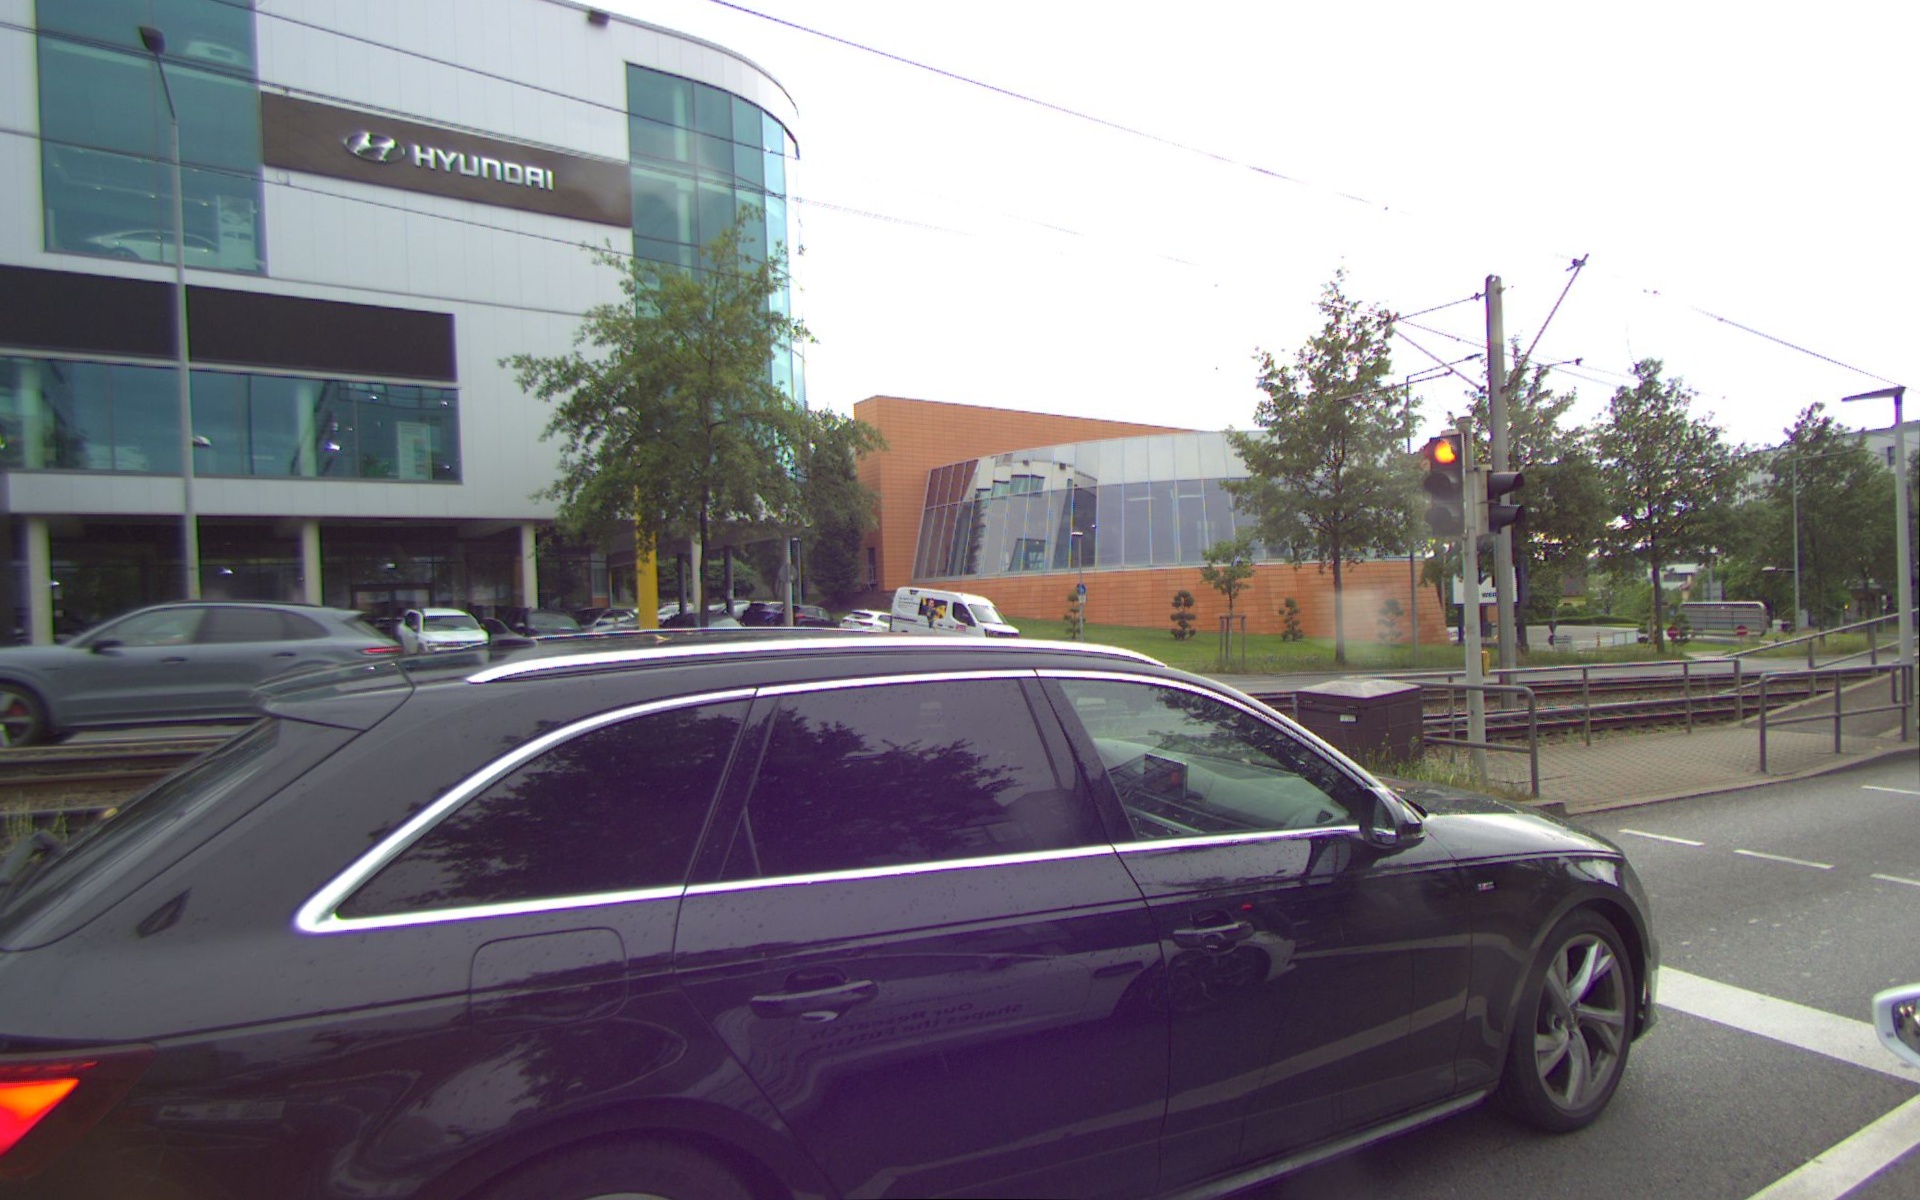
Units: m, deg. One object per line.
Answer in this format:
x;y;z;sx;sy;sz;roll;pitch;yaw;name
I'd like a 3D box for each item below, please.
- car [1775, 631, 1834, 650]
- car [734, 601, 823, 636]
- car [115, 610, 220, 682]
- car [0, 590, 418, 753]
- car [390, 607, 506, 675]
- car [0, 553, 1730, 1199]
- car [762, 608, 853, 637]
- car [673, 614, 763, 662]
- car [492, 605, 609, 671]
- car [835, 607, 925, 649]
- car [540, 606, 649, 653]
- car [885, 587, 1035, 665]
66.070;3.142;78.622;1.408;1.405;3.371;0;0;-13;car
-8.833;0.898;49.107;1.969;1.653;3.982;0;-1;39;car
-19.831;1.073;25.093;1.917;1.479;3.974;1;1;-40;car
-9.446;0.825;12.401;4.785;1.742;1.984;1;-3;-31;car
-14.464;1.080;28.275;1.984;1.571;4.324;1;1;-40;car
0.170;0.722;2.924;4.461;1.486;1.772;1;-1;-31;car
-7.177;1.051;47.538;1.969;1.297;3.982;0;-1;39;car
-7.721;1.163;31.853;1.565;1.409;3.619;0;-1;-36;car
-12.246;1.080;29.892;1.984;1.637;4.324;1;1;-40;car
-3.304;1.147;42.188;1.703;1.688;3.734;1;-1;38;car
-12.797;1.012;35.369;1.691;1.572;3.587;0;-1;20;car
-0.084;0.897;38.139;5.544;2.616;2.392;3;1;43;car
